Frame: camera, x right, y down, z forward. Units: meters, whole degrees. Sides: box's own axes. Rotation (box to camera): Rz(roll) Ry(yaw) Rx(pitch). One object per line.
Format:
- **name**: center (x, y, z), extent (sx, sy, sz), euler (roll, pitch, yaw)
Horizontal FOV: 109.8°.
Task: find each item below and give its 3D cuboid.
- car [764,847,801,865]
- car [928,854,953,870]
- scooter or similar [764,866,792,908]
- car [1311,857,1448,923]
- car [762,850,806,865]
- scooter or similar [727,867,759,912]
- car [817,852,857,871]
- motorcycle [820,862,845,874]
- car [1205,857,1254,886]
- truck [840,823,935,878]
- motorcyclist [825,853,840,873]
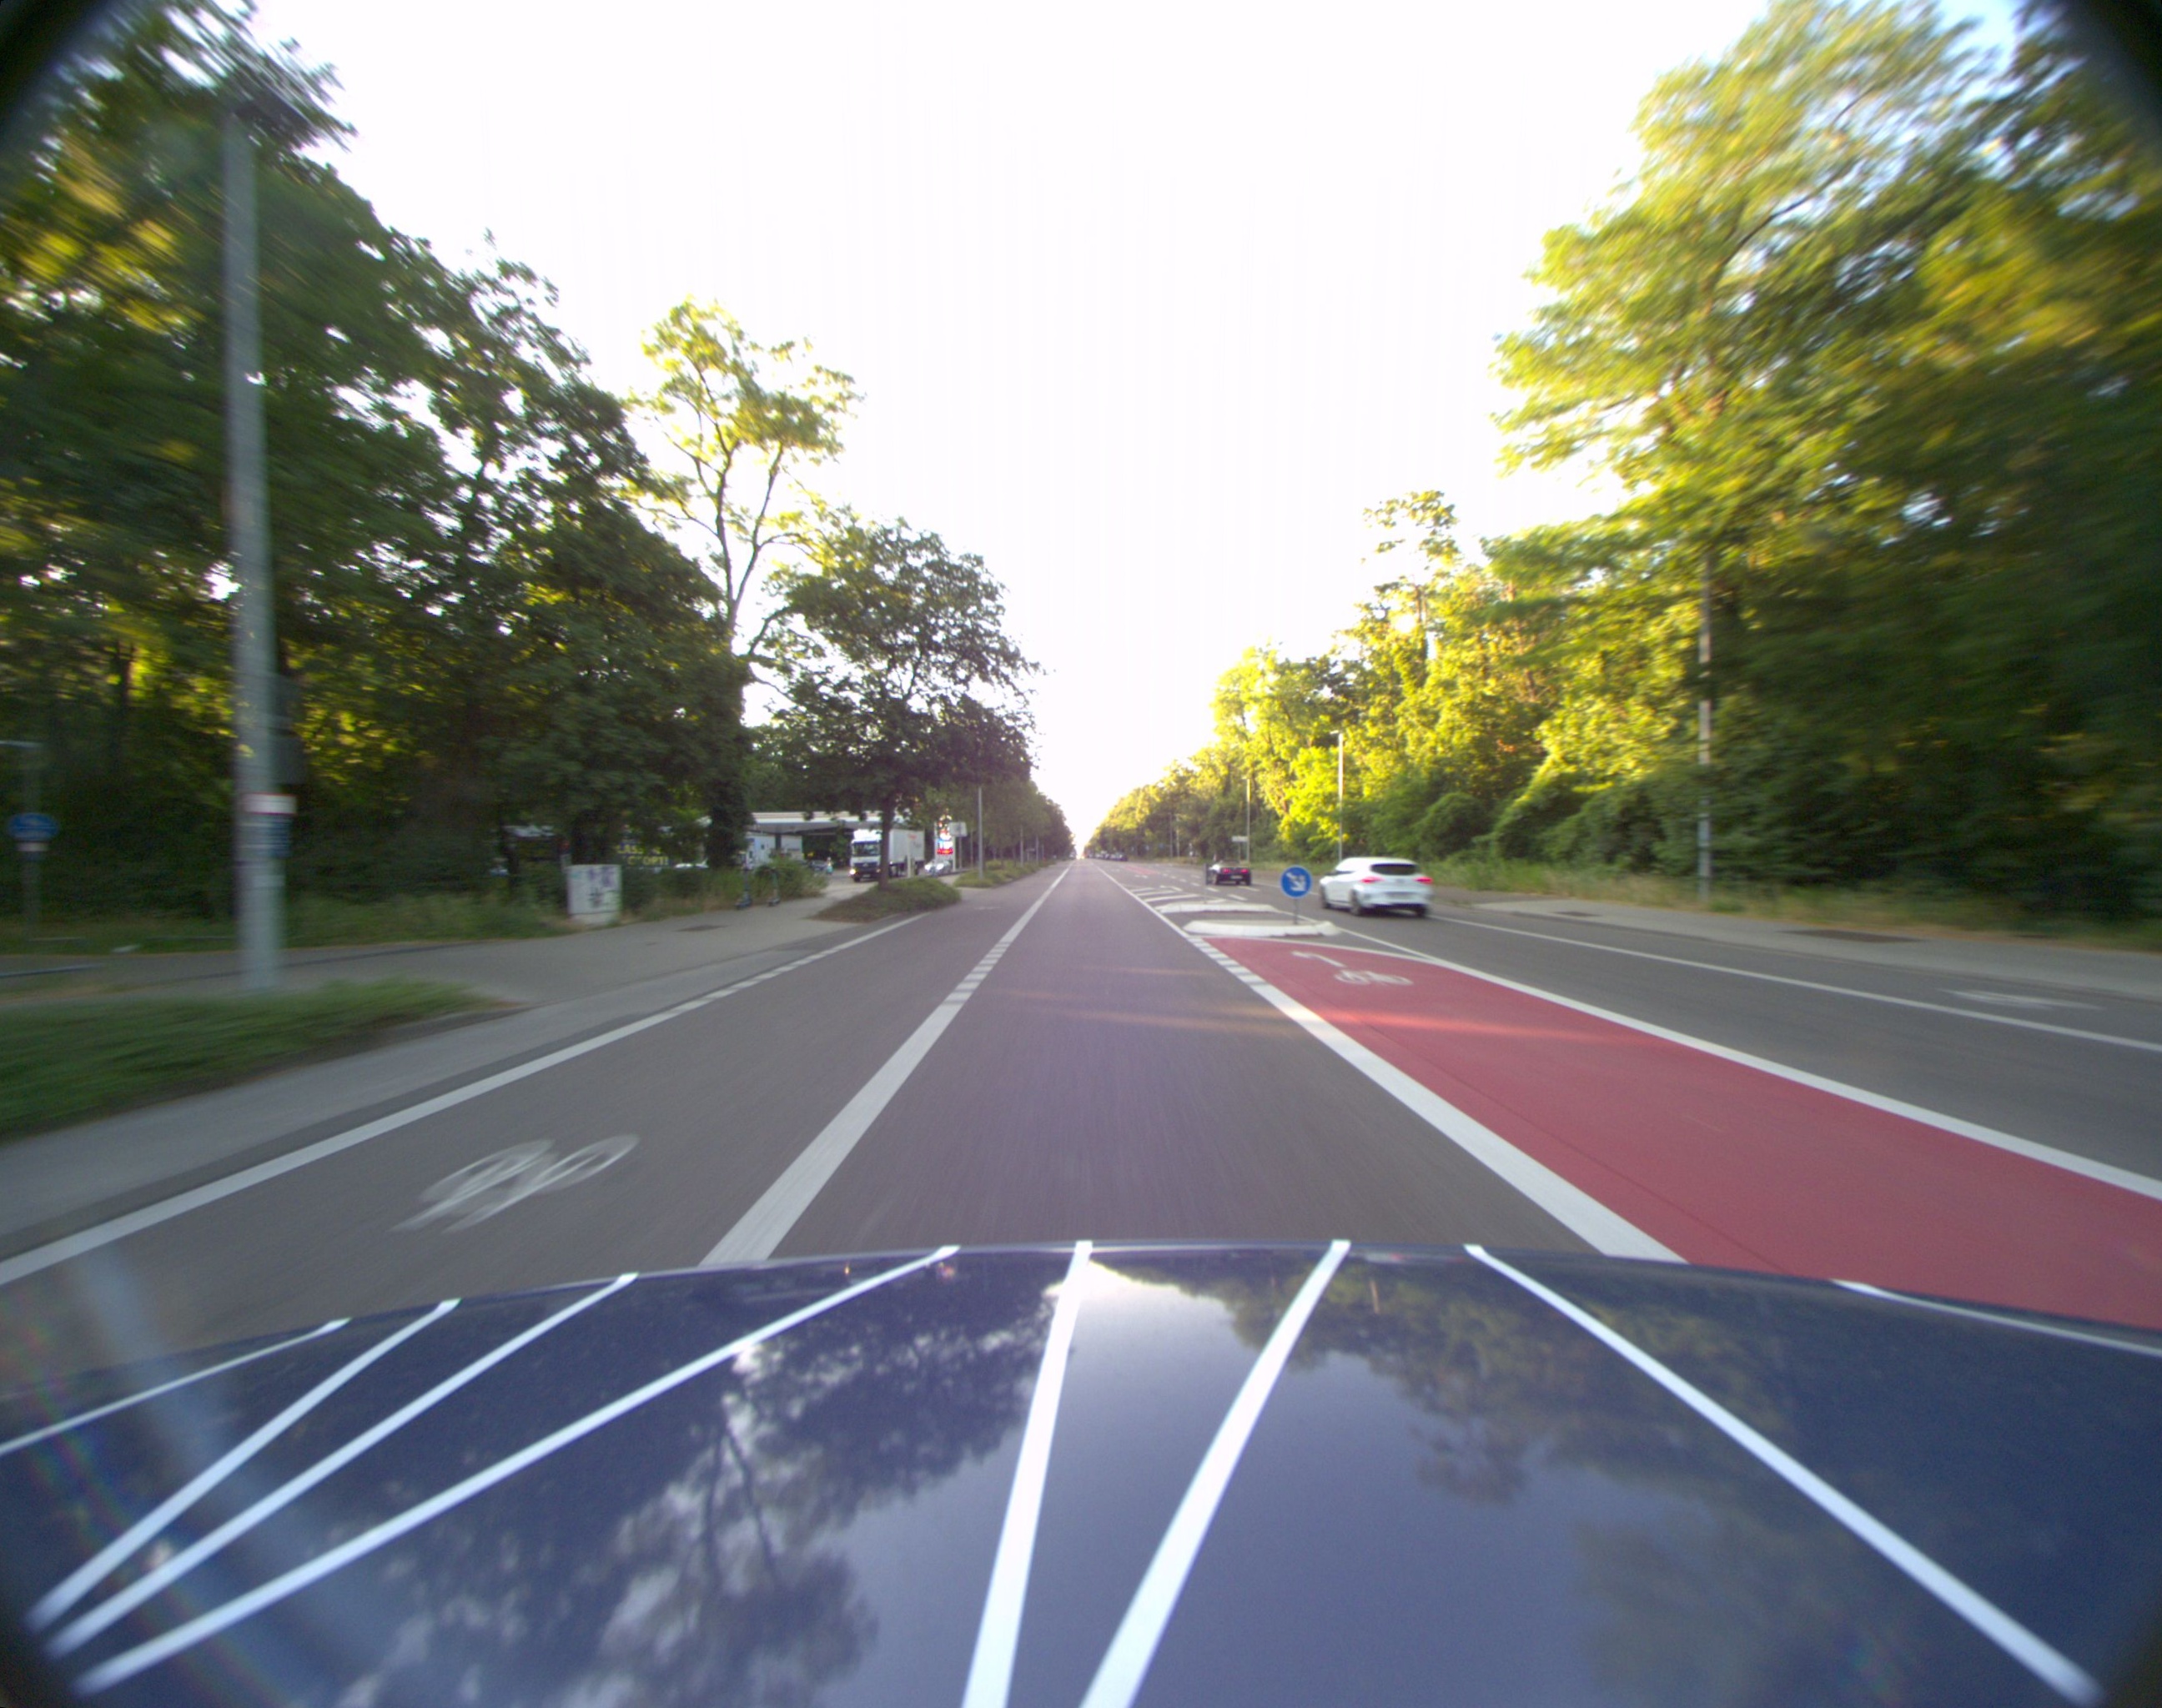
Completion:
- **car**: center (-25.674, 0.180, 65.462), extent (1.673, 1.499, 3.999), euler (-2, 0, -1)
- **car**: center (-14.611, 0.812, 79.134), extent (1.999, 1.581, 4.708), euler (-2, 0, -4)
- **scooter or similar**: center (-9.617, 1.028, 24.153), extent (0.483, 1.274, 1.139), euler (-1, 1, -5)
- **car**: center (7.447, 0.826, 19.420), extent (1.851, 1.406, 4.180), euler (1, 0, 0)
- **car**: center (-30.246, 0.377, 77.420), extent (4.006, 1.514, 1.996), euler (1, -1, -28)
- **scooter or similar**: center (-10.106, 1.044, 22.746), extent (0.483, 1.274, 1.231), euler (0, 0, -5)
- **car**: center (-27.380, 0.803, 85.451), extent (4.001, 2.002, 1.831), euler (-2, 1, -11)
- **motorcycle**: center (-24.424, 1.401, 74.832), extent (1.137, 1.018, 4.000), euler (-2, 0, 1)
- **car**: center (7.346, 0.836, 37.872), extent (1.754, 1.299, 4.000), euler (0, 0, 1)
- **truck**: center (-14.990, -0.305, 60.863), extent (3.226, 3.707, 15.884), euler (-2, 0, 1)
- **motorcyclist**: center (-24.452, 0.878, 74.668), extent (1.009, 2.002, 1.075), euler (-2, 1, 0)
